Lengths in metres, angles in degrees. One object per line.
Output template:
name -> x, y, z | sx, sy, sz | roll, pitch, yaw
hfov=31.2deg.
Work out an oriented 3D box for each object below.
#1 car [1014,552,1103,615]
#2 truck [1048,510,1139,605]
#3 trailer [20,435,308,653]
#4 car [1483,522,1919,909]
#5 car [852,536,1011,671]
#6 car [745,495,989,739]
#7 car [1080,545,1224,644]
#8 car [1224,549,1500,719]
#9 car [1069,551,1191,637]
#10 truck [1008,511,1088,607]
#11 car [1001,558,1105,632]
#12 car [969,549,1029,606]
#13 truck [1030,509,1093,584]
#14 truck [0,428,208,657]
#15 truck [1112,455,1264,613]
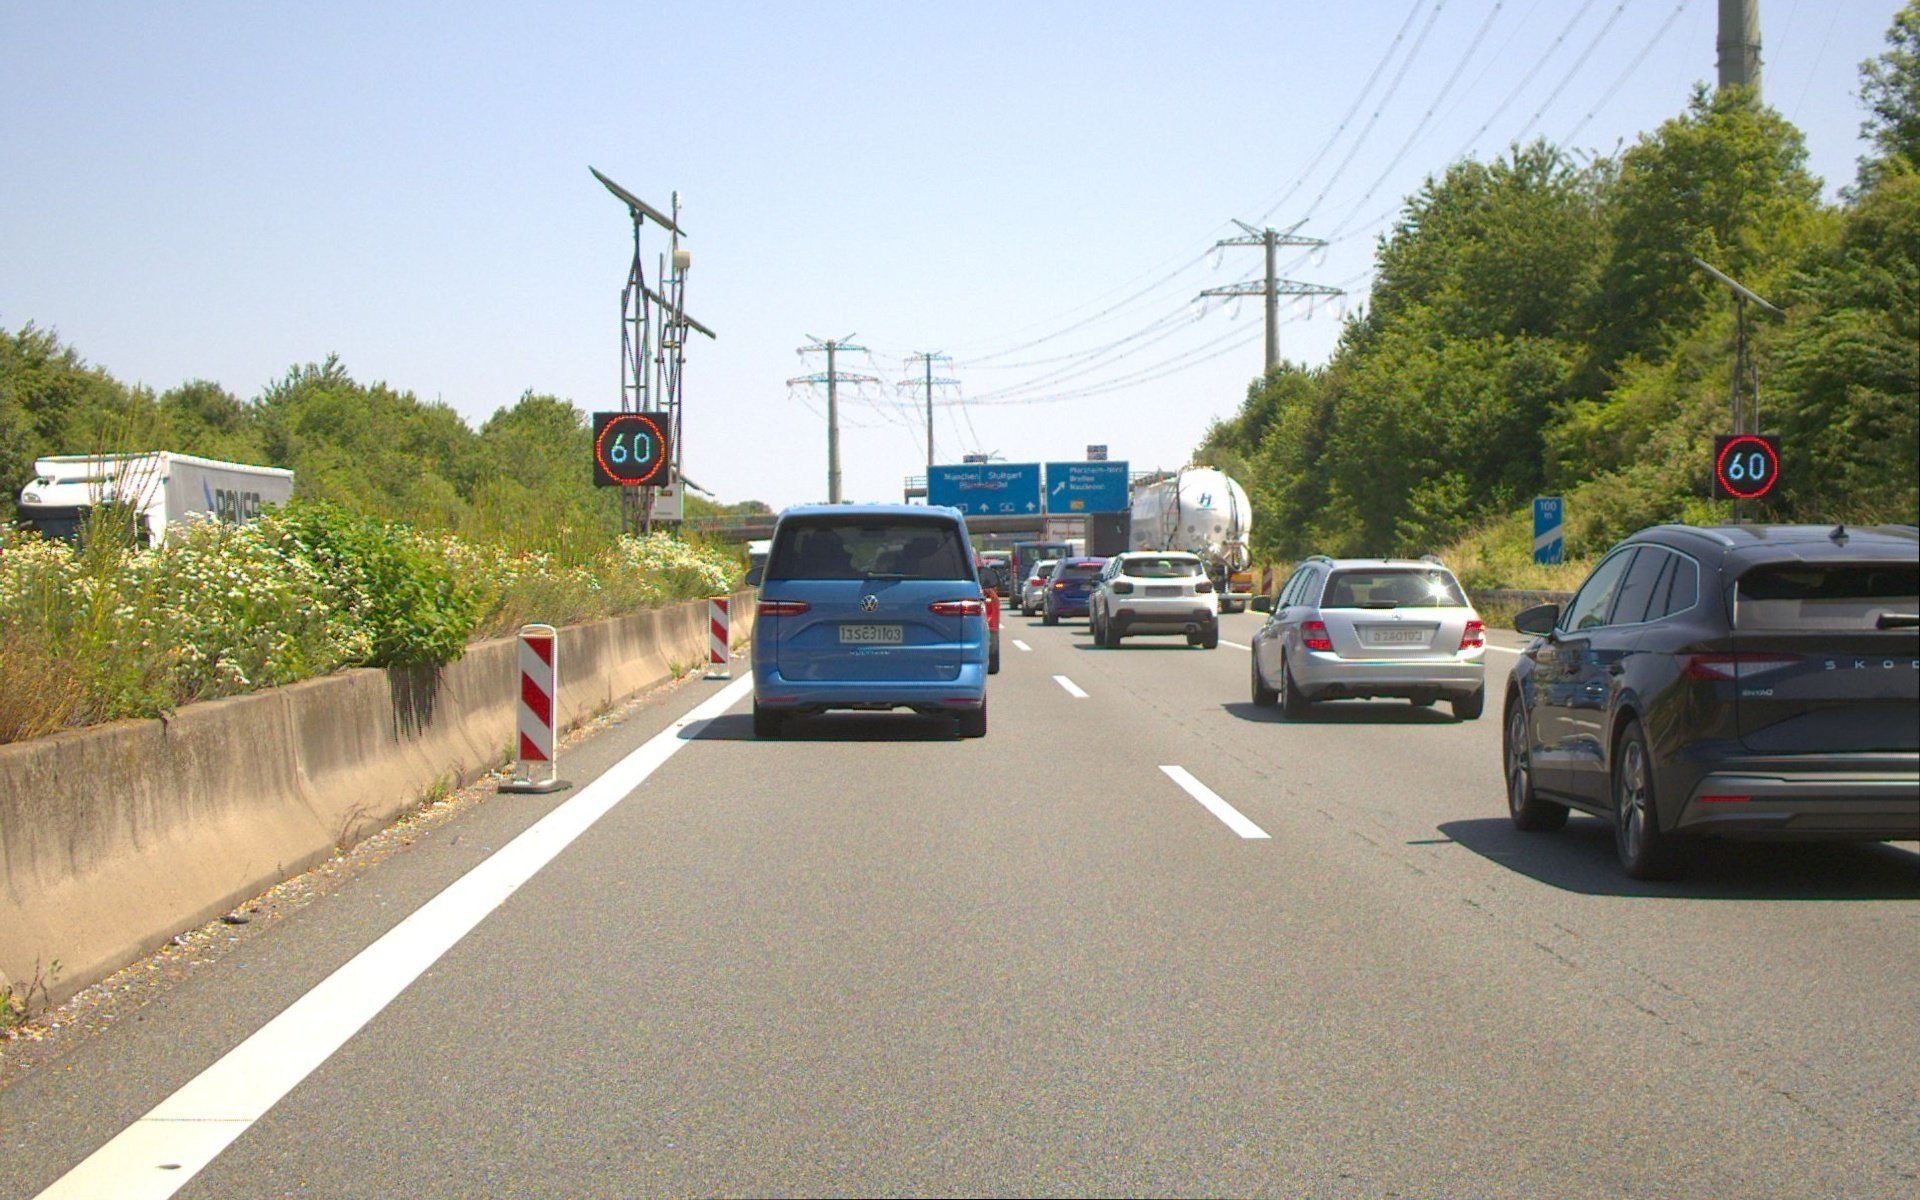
car -> 2.458, -0.436, 86.912 | 1.908, 1.511, 4.384 | 1, 1, -3
truck -> 5.152, -1.664, 134.652 | 2.644, 3.526, 12.553 | 1, 1, -2
trailer -> -17.145, -1.215, 75.307 | 3.016, 4.152, 14.021 | -3, 1, -1
car -> 3.839, 0.446, 16.575 | 1.828, 1.609, 4.431 | 0, 1, -2
car -> -0.415, 0.015, 43.649 | 1.908, 1.625, 4.384 | 0, 1, -2
car -> -0.834, 0.105, 28.956 | 1.871, 1.873, 4.384 | 1, 1, -3
car -> 3.048, -0.106, 55.343 | 1.908, 1.503, 3.922 | 1, 1, -3
car -> 3.631, 0.265, 31.777 | 1.821, 1.432, 4.384 | 1, 1, -3
car -> 3.231, -0.140, 66.216 | 1.908, 1.564, 4.384 | 1, 1, -3
truck -> 2.543, -1.206, 100.814 | 1.993, 2.714, 5.680 | 1, 1, -2
car -> 1.971, -0.126, 74.309 | 1.908, 1.511, 4.384 | 1, 1, -3
car -> 1.412, -0.828, 125.296 | 1.993, 2.007, 4.000 | 1, 1, -2
truck -> 6.016, -3.172, 205.053 | 2.938, 4.276, 12.553 | 1, 1, -2
truck -> -16.998, -1.114, 67.525 | 3.016, 4.152, 5.806 | -3, 1, -1
truck -> 6.286, -1.835, 97.459 | 2.644, 4.058, 16.442 | 1, 1, -2
